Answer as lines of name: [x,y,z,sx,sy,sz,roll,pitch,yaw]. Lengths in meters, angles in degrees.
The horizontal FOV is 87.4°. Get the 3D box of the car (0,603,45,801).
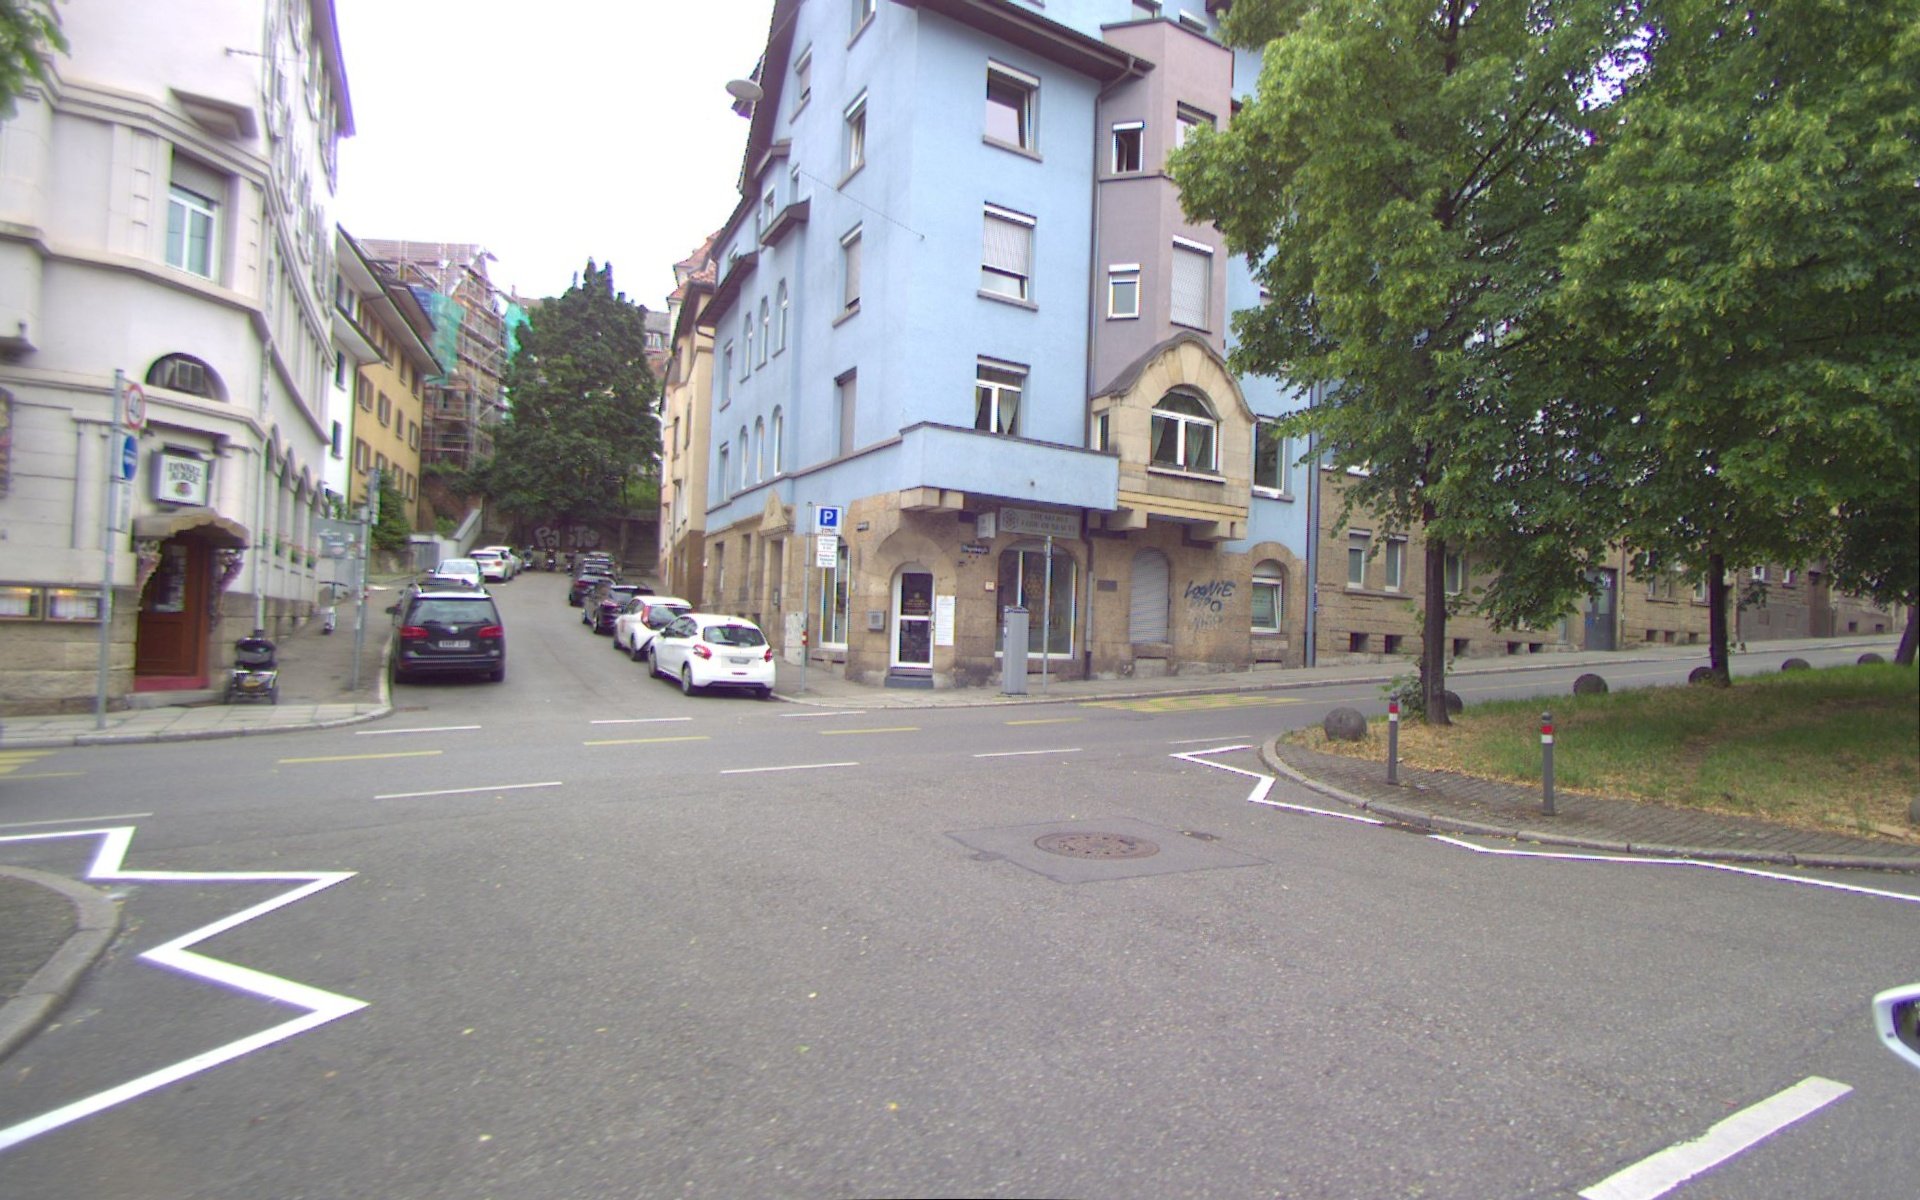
car: [-9.660,0.787,7.126,4.365,1.584,1.805,1,-1,-31]

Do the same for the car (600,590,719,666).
car: [-7.578,0.650,25.050,1.944,1.489,4.120,2,3,-30]

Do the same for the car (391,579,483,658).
car: [-12.400,0.390,23.957,1.777,1.530,3.972,2,3,-26]

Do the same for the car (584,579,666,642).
car: [-9.927,0.266,29.606,1.776,1.530,3.973,2,3,-26]

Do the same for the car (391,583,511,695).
car: [-9.925,0.663,19.474,1.849,1.723,3.978,2,3,-29]

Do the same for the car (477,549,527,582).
car: [-23.555,-1.796,51.794,1.771,1.530,3.984,2,3,-17]

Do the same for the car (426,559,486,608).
car: [-18.385,-0.640,36.784,1.776,1.530,3.974,2,3,-25]

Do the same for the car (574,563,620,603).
car: [-16.050,-0.794,44.440,1.773,1.530,3.981,2,3,-20]

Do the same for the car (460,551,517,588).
car: [-21.800,-1.445,46.544,1.771,1.530,3.984,2,3,-17]

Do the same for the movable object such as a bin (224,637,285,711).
movable object such as a bin: [-10.531,1.087,15.017,0.661,1.007,0.880,1,1,-32]

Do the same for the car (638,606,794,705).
car: [-5.013,1.032,20.285,1.851,1.489,3.973,2,3,-32]

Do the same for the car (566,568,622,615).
car: [-14.009,-0.364,38.336,1.775,1.530,3.977,2,3,-23]
